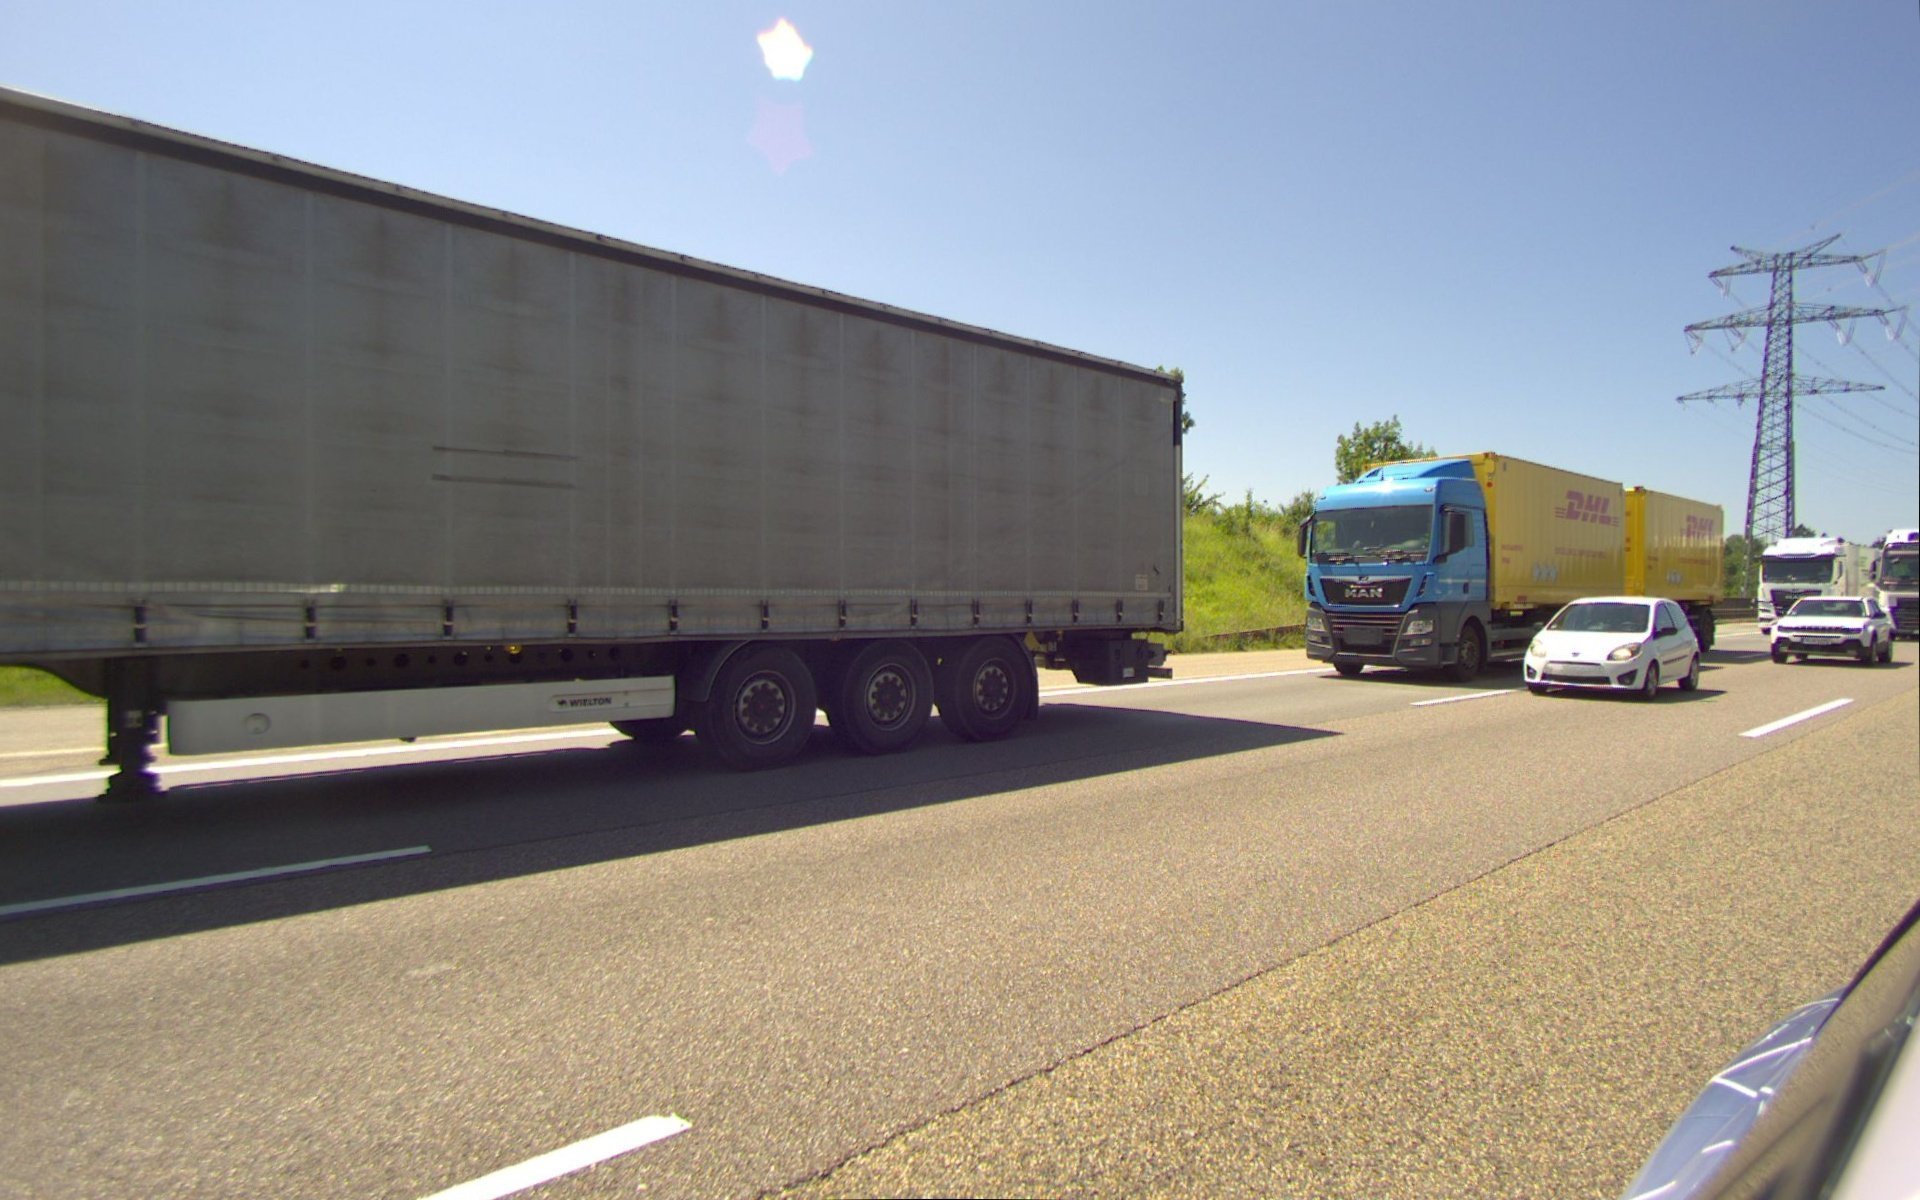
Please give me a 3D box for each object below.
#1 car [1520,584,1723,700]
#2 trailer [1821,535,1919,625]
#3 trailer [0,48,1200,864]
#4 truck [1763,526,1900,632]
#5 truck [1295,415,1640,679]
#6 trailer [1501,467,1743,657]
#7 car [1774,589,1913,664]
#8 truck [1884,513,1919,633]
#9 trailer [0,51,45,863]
[{"bbox_3d":[10.282,0.541,15.642,3.759,1.529,1.658,-1,2,-41],"label":"car"},{"bbox_3d":[43.890,-0.926,48.535,7.636,3.991,2.750,0,0,-40],"label":"trailer"},{"bbox_3d":[-3.246,-0.730,8.439,13.511,4.101,2.967,0,0,-41],"label":"trailer"},{"bbox_3d":[36.776,-0.834,42.495,11.098,3.980,2.694,0,0,-40],"label":"truck"},{"bbox_3d":[10.539,-0.821,20.265,9.780,4.161,2.769,0,0,-42],"label":"truck"},{"bbox_3d":[17.368,-0.818,26.198,9.211,4.170,2.770,0,0,-40],"label":"trailer"},{"bbox_3d":[20.078,0.534,22.956,3.783,1.549,1.775,-1,1,-39],"label":"car"},{"bbox_3d":[38.370,-0.938,38.576,14.000,4.090,2.717,0,0,-40],"label":"truck"},{"bbox_3d":[-8.112,-0.731,4.178,6.298,4.095,2.929,0,0,-41],"label":"trailer"}]
